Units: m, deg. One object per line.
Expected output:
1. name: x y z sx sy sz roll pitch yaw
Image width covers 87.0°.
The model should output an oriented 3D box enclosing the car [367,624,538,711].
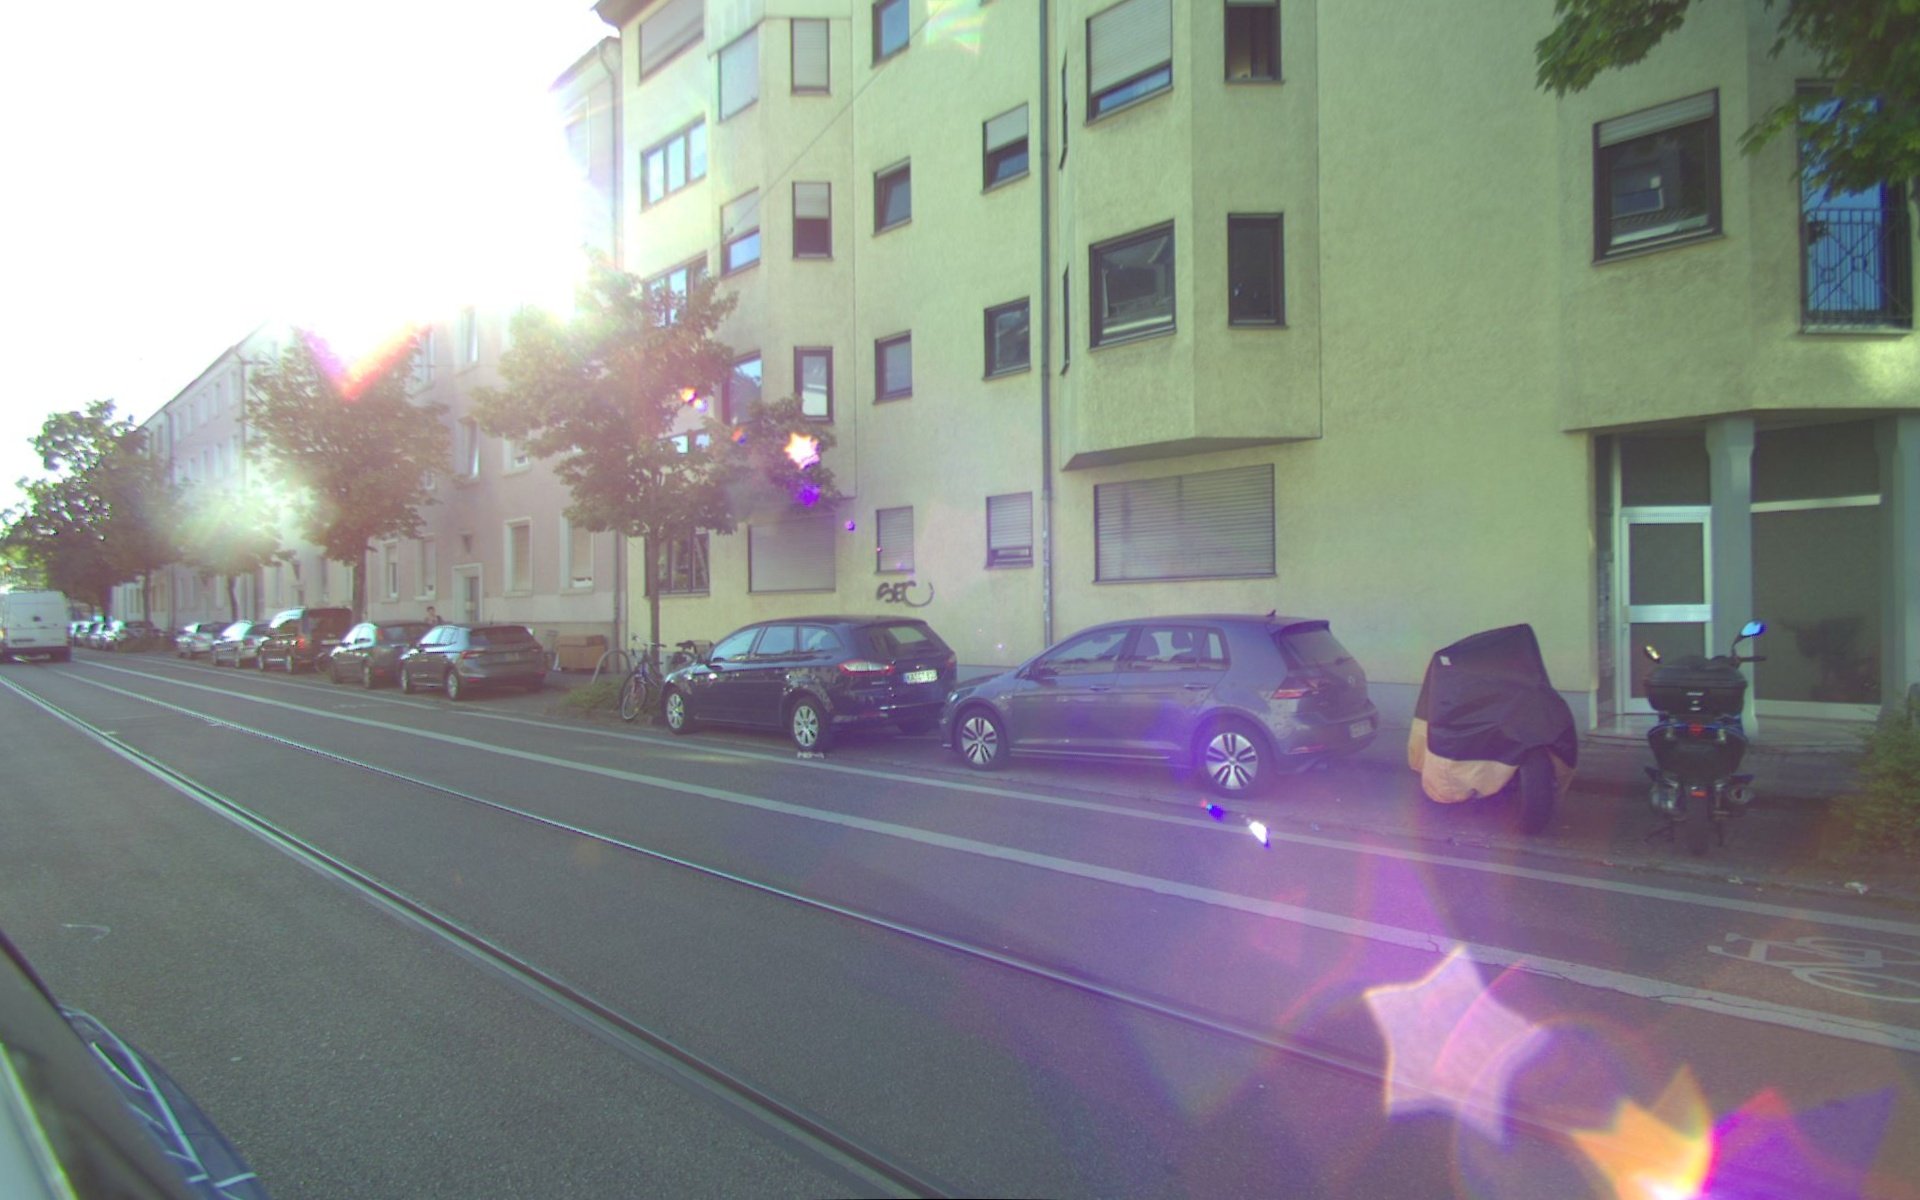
1. car: -10.350 1.290 20.502 4.041 1.484 1.746 -2 2 43

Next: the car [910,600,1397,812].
1. car: 1.645 0.816 9.409 4.124 1.554 1.718 -1 -1 39

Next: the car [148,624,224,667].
1. car: -29.709 1.692 38.783 1.745 1.484 4.755 -1 -1 -45

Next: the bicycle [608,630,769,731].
1. bicycle: -3.988 1.142 15.032 0.699 1.344 2.267 -2 -1 43

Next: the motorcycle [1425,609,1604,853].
1. motorcycle: 3.959 0.802 7.141 0.835 1.458 1.951 -1 -1 36

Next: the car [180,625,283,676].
1. car: -23.535 1.578 32.613 4.858 1.484 1.746 -2 -1 43

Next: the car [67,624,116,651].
1. car: -52.840 2.278 61.556 4.045 1.563 1.666 -2 -1 40

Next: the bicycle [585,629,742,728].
1. bicycle: -4.505 1.151 15.531 0.699 1.344 2.267 -2 -1 43

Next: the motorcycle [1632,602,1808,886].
1. motorcycle: 4.617 0.745 6.198 0.719 1.458 1.951 -1 -1 36

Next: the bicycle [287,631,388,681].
1. bicycle: -16.380 1.457 26.683 0.746 1.113 2.089 -2 2 41

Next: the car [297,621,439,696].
1. car: -13.933 1.305 23.733 4.182 1.484 1.746 -2 2 44

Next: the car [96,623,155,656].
1. car: -42.963 2.005 52.102 4.045 1.635 1.666 -2 -1 40

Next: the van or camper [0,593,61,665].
1. van or camper: -36.360 1.106 38.577 6.831 2.572 2.345 -2 -1 41

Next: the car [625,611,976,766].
1. car: -2.138 0.947 12.499 4.733 1.554 1.746 -2 -1 43

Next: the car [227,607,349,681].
1. car: -19.353 1.226 29.069 4.421 1.859 1.747 -2 1 41
